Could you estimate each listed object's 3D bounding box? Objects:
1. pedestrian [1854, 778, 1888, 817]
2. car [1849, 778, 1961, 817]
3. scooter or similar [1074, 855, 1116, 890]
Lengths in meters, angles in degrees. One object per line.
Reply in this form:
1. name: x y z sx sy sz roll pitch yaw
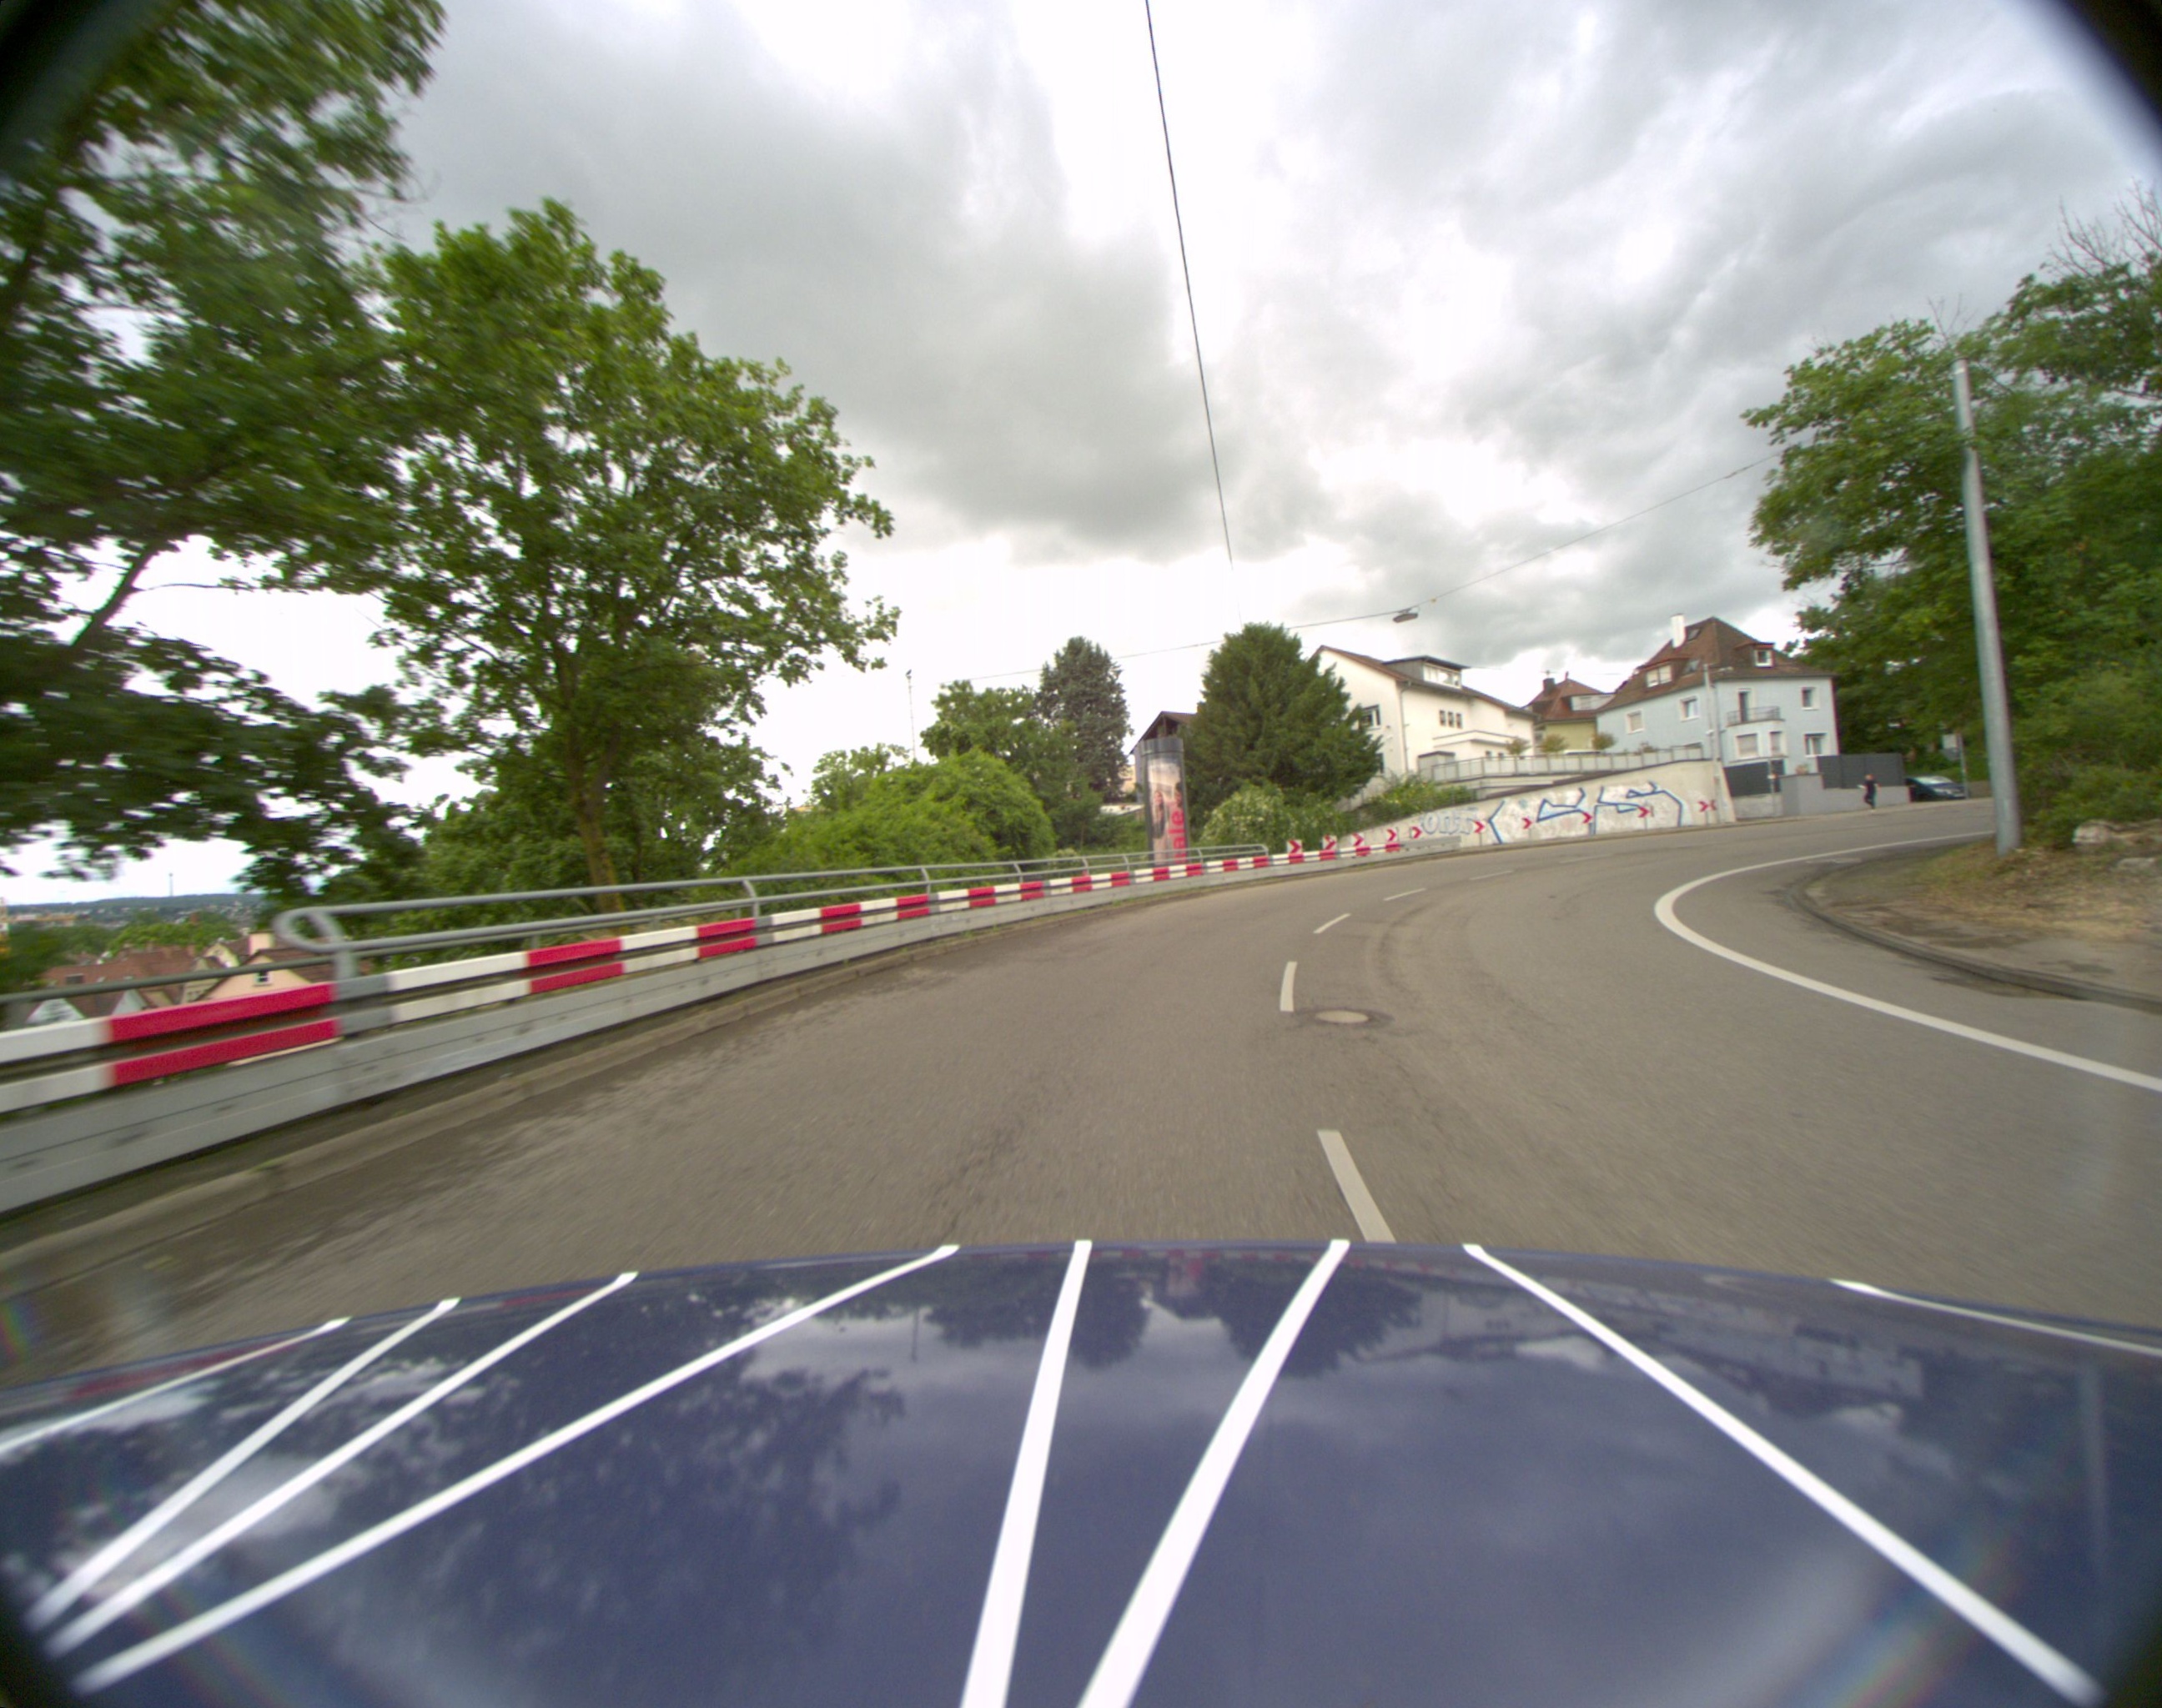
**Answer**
1. pedestrian: 39.967 -2.852 38.443 0.982 1.817 0.575 -5 0 34
2. car: 50.769 -3.425 46.974 1.948 1.852 4.843 -5 -1 7
3. scooter or similar: 0.549 0.740 30.149 1.498 1.243 0.437 -5 0 17
